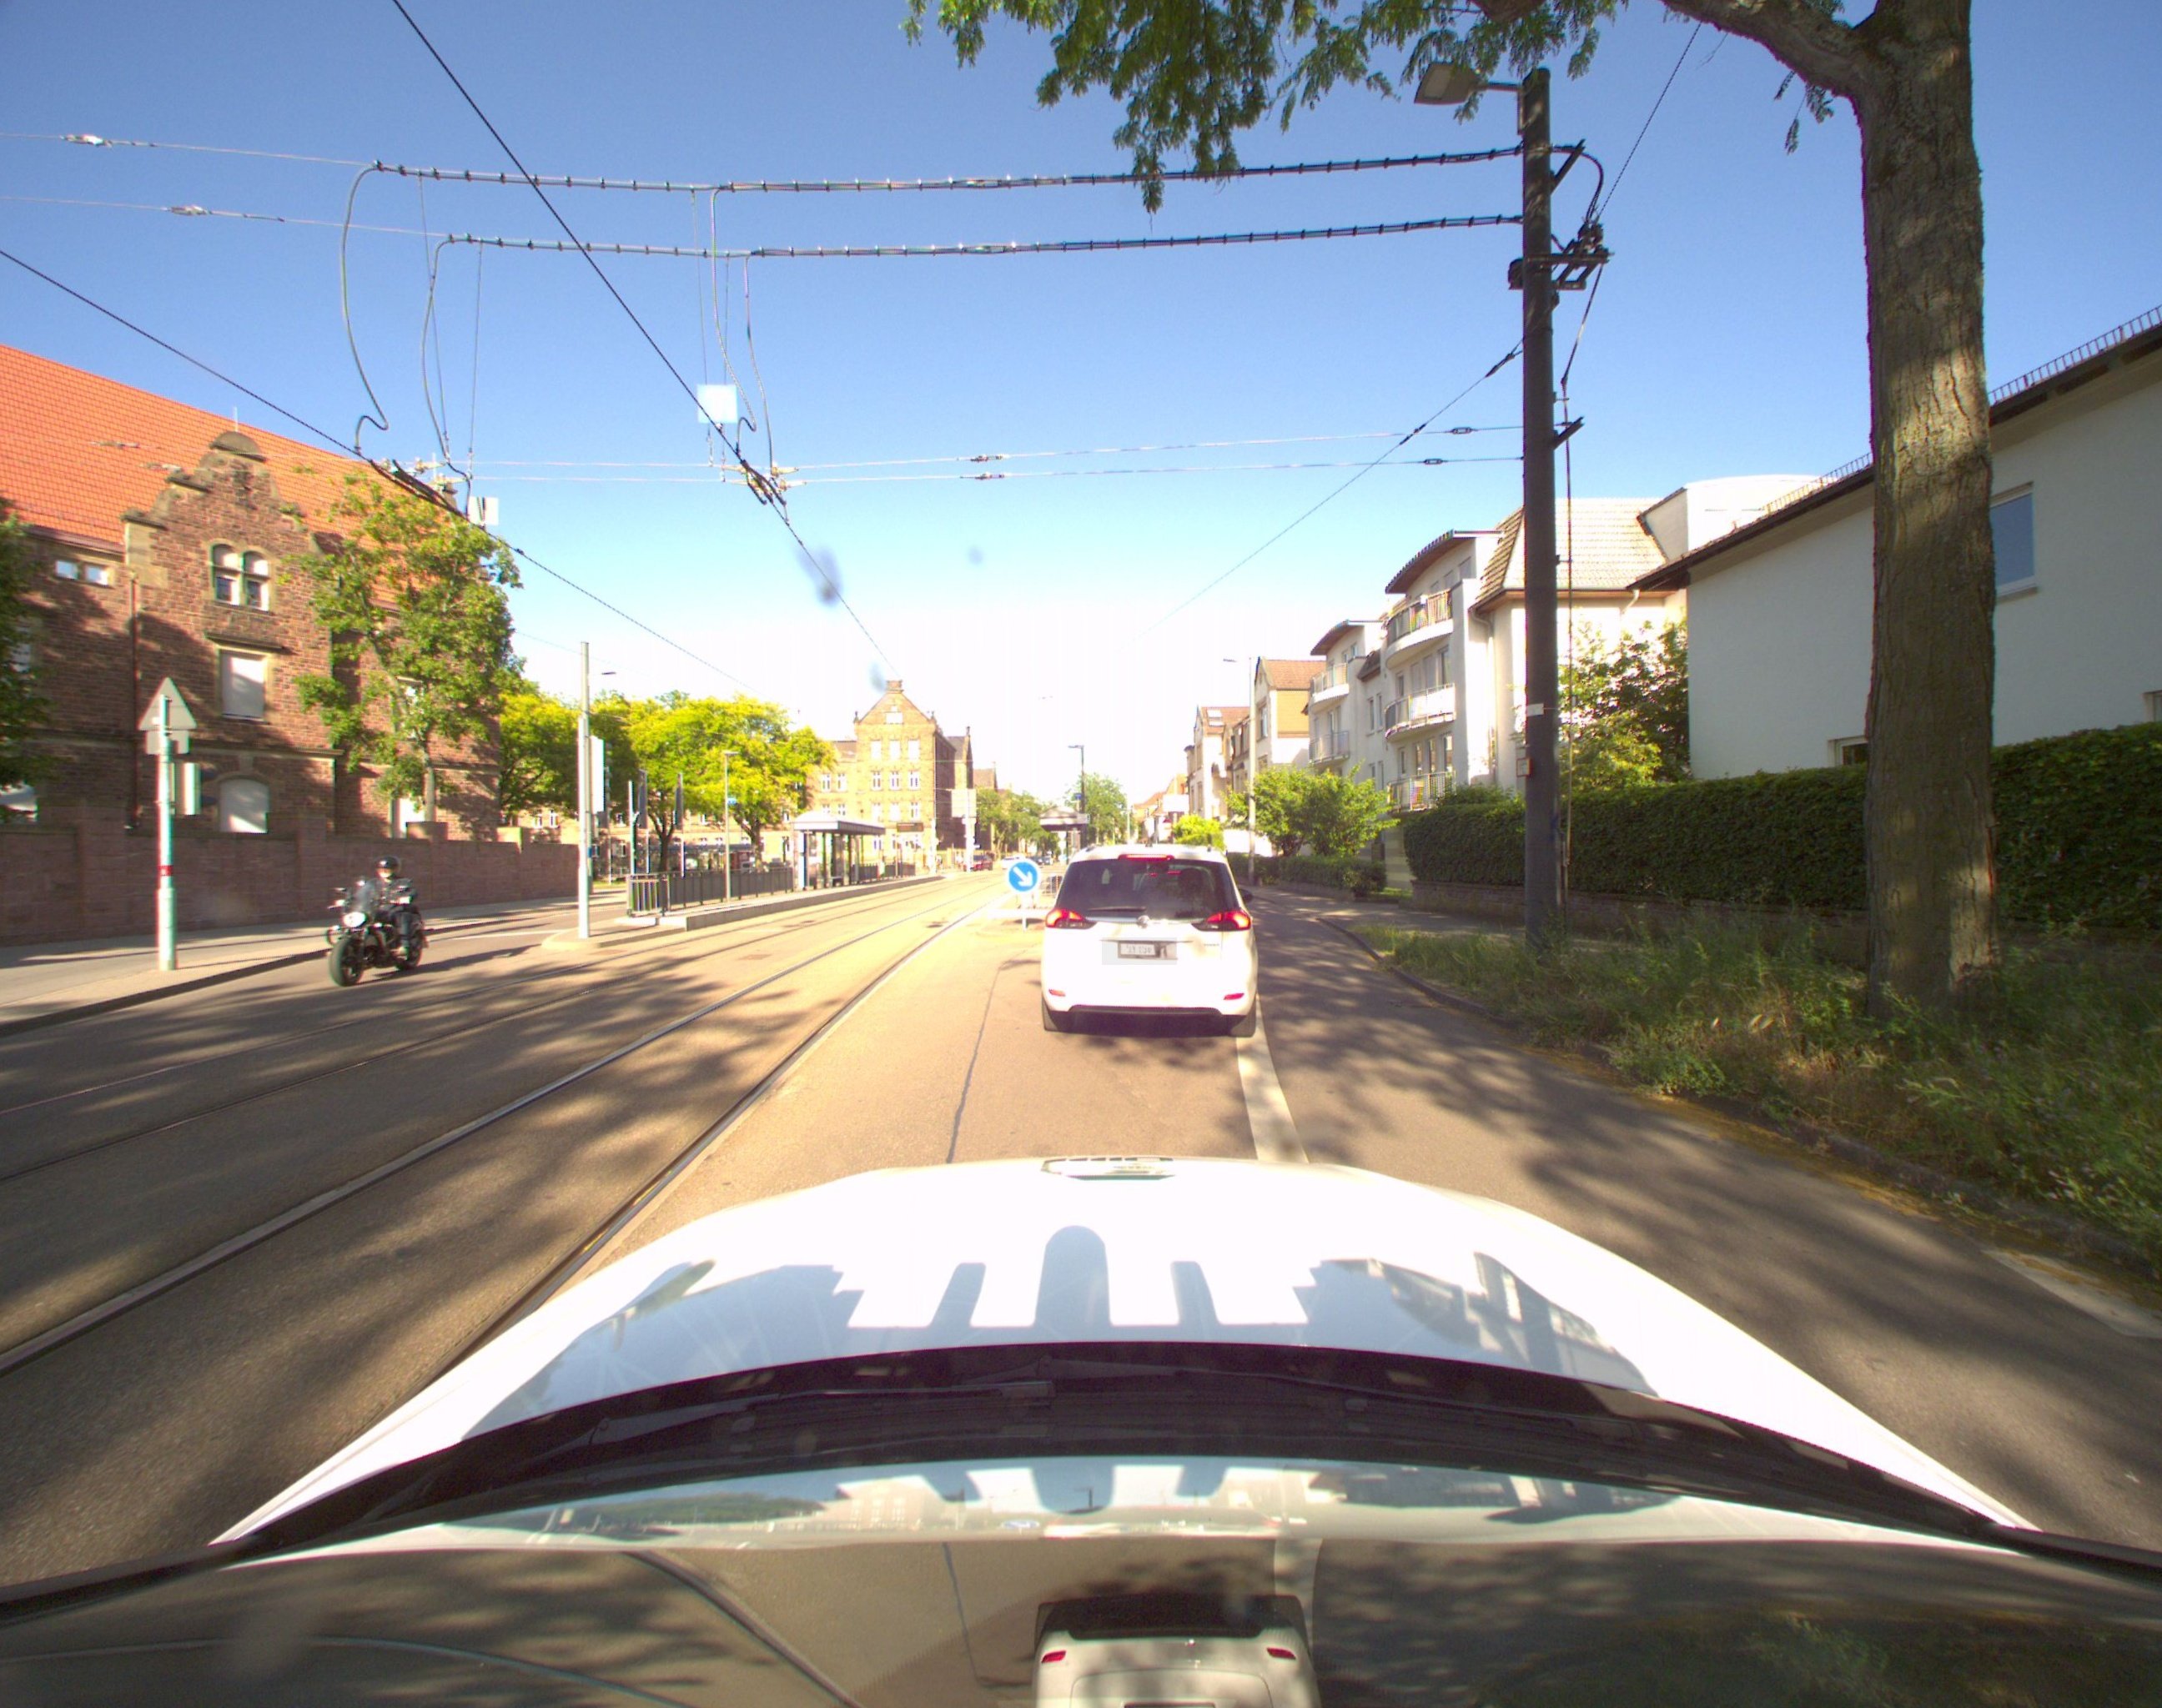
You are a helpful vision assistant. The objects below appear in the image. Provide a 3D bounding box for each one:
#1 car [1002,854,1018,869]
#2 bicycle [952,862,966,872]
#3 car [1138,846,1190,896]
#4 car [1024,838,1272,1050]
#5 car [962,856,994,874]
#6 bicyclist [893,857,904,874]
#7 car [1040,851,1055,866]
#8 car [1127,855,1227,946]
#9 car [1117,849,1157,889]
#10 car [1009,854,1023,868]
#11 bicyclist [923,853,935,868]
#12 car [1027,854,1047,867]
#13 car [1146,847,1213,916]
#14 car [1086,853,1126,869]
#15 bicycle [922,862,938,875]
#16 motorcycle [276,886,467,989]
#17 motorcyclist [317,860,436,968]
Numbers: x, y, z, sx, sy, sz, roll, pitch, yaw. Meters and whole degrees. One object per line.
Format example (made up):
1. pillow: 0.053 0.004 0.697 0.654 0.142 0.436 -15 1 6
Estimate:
1. car: -8.945 0.935 102.153 1.693 1.809 3.998 -1 0 -1
2. bicycle: -12.965 1.357 86.814 0.664 1.072 2.024 0 0 17
3. car: 2.916 0.578 29.246 1.590 1.635 3.903 1 0 2
4. car: 0.754 0.678 8.204 1.868 1.585 4.008 -1 0 7
5. car: -9.949 1.060 78.935 1.806 1.607 4.372 -1 0 11
6. bicyclist: -15.891 1.014 70.939 0.651 1.459 1.152 -1 0 0
7. car: -4.745 0.601 115.351 1.988 2.013 3.998 -1 0 -1
8. car: 1.774 0.743 14.874 1.560 1.401 3.792 1 0 7
9. car: 2.443 0.625 36.330 1.590 1.635 3.903 1 0 2
10. car: -8.786 0.944 110.595 1.823 1.788 4.249 -1 0 -3
11. bicyclist: -14.741 0.613 79.072 0.751 1.471 1.194 -2 -2 11
12. car: -5.358 0.775 99.839 1.985 1.596 4.003 -1 0 3
13. car: 2.562 0.645 21.112 1.560 1.614 3.792 1 0 7
14. car: 2.665 0.698 86.214 3.956 1.629 1.679 -1 0 16
15. bicycle: -14.689 1.384 79.219 0.810 1.199 1.959 -2 -2 12
16. motorcycle: -9.648 1.071 11.250 0.912 1.153 2.418 -1 0 -12
17. motorcyclist: -9.653 0.789 11.207 0.890 1.383 0.904 -1 0 -13
